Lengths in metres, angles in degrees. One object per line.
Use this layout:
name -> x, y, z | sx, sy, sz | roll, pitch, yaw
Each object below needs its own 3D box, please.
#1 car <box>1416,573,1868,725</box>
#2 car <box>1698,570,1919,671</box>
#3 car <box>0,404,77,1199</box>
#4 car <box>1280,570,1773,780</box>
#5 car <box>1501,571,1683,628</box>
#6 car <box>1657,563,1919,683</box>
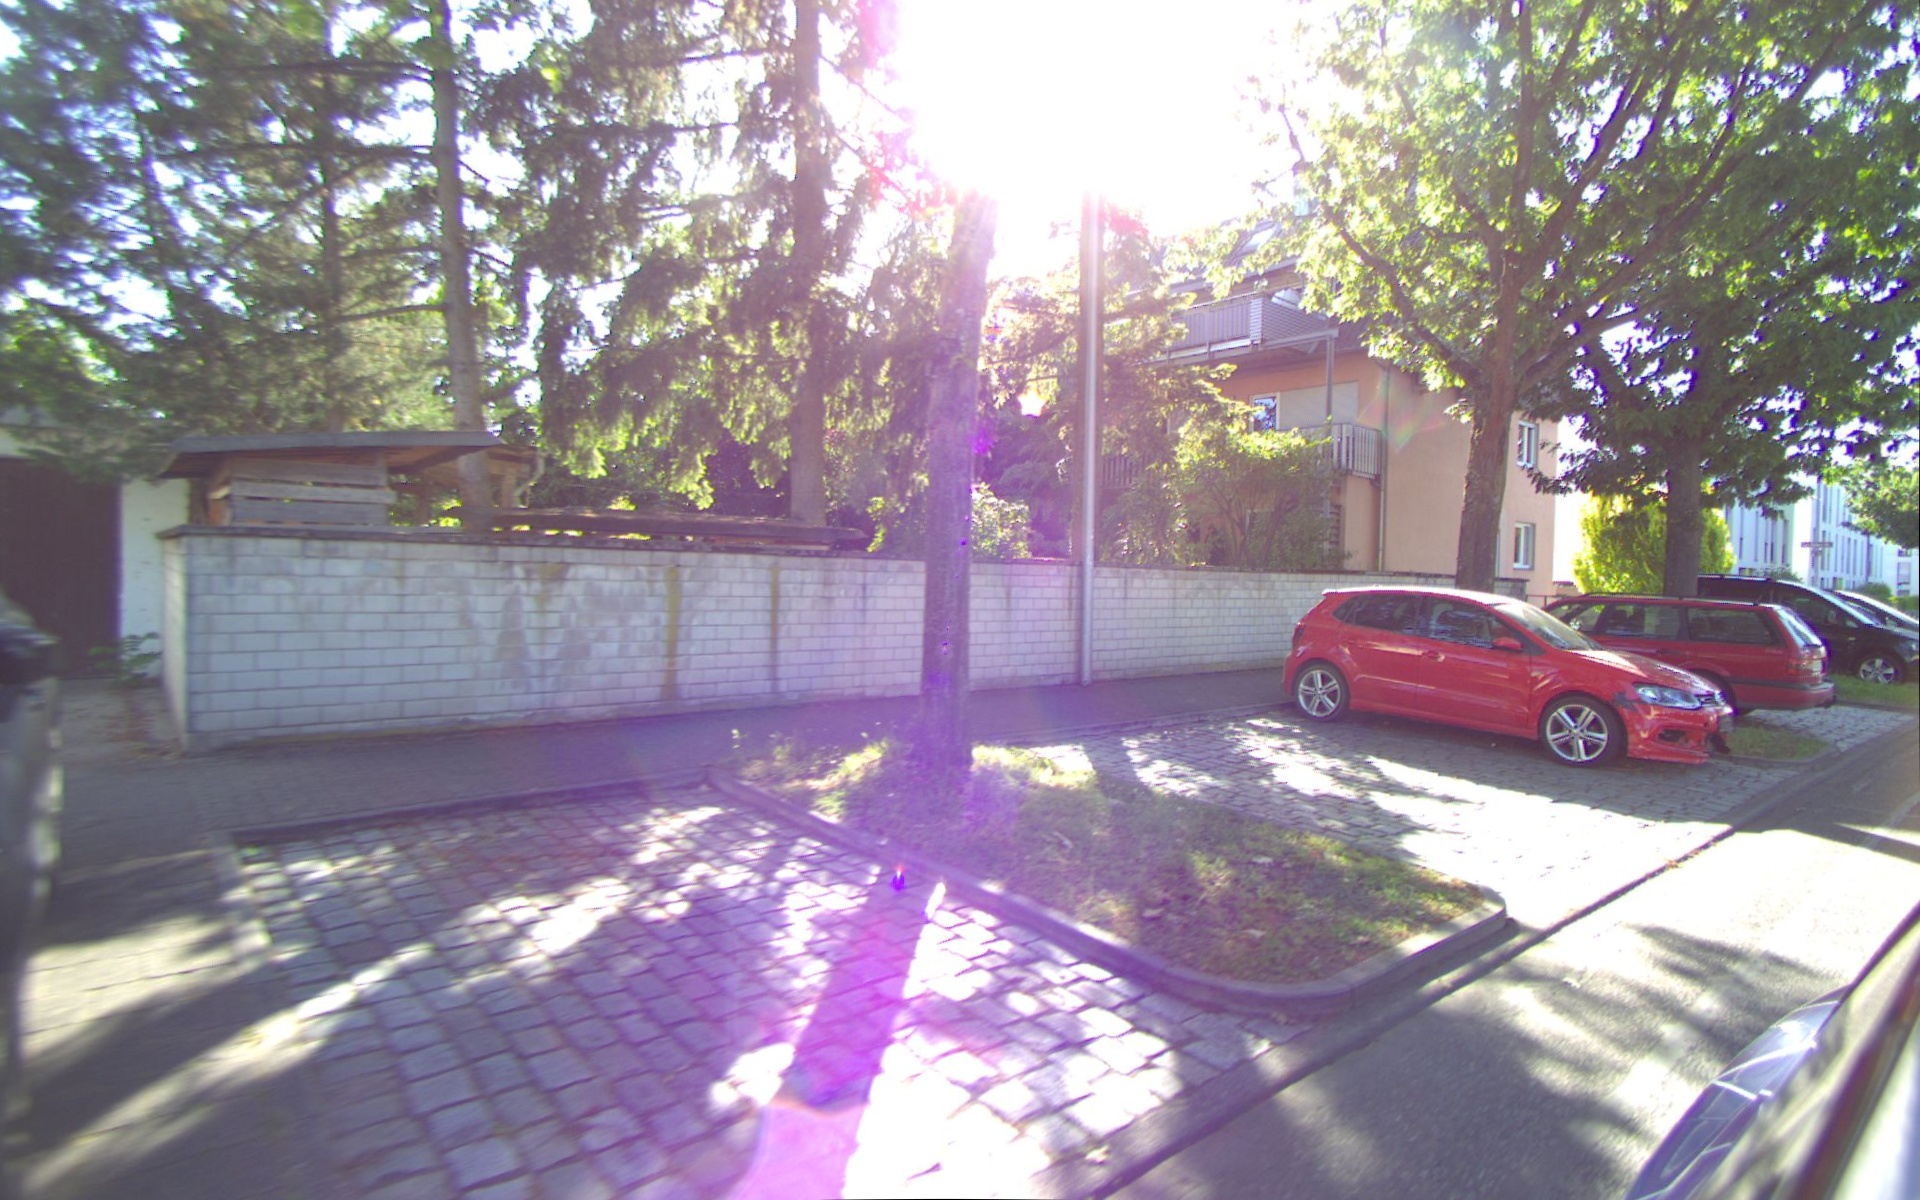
car -> 8.626, 0.485, 13.195 | 1.805, 1.463, 4.515 | 0, 3, -39
car -> 17.958, 0.385, 20.482 | 1.846, 1.699, 4.514 | 0, 5, -40
car -> -3.387, 0.417, 2.429 | 1.806, 1.666, 4.585 | 0, 3, -40
car -> 5.283, 0.529, 9.852 | 1.724, 1.502, 3.787 | -1, 4, -39
car -> 22.466, -0.085, 36.173 | 1.881, 1.837, 5.201 | -1, 3, -43
car -> 15.559, 0.350, 18.524 | 1.757, 1.803, 4.223 | 0, 4, -40
